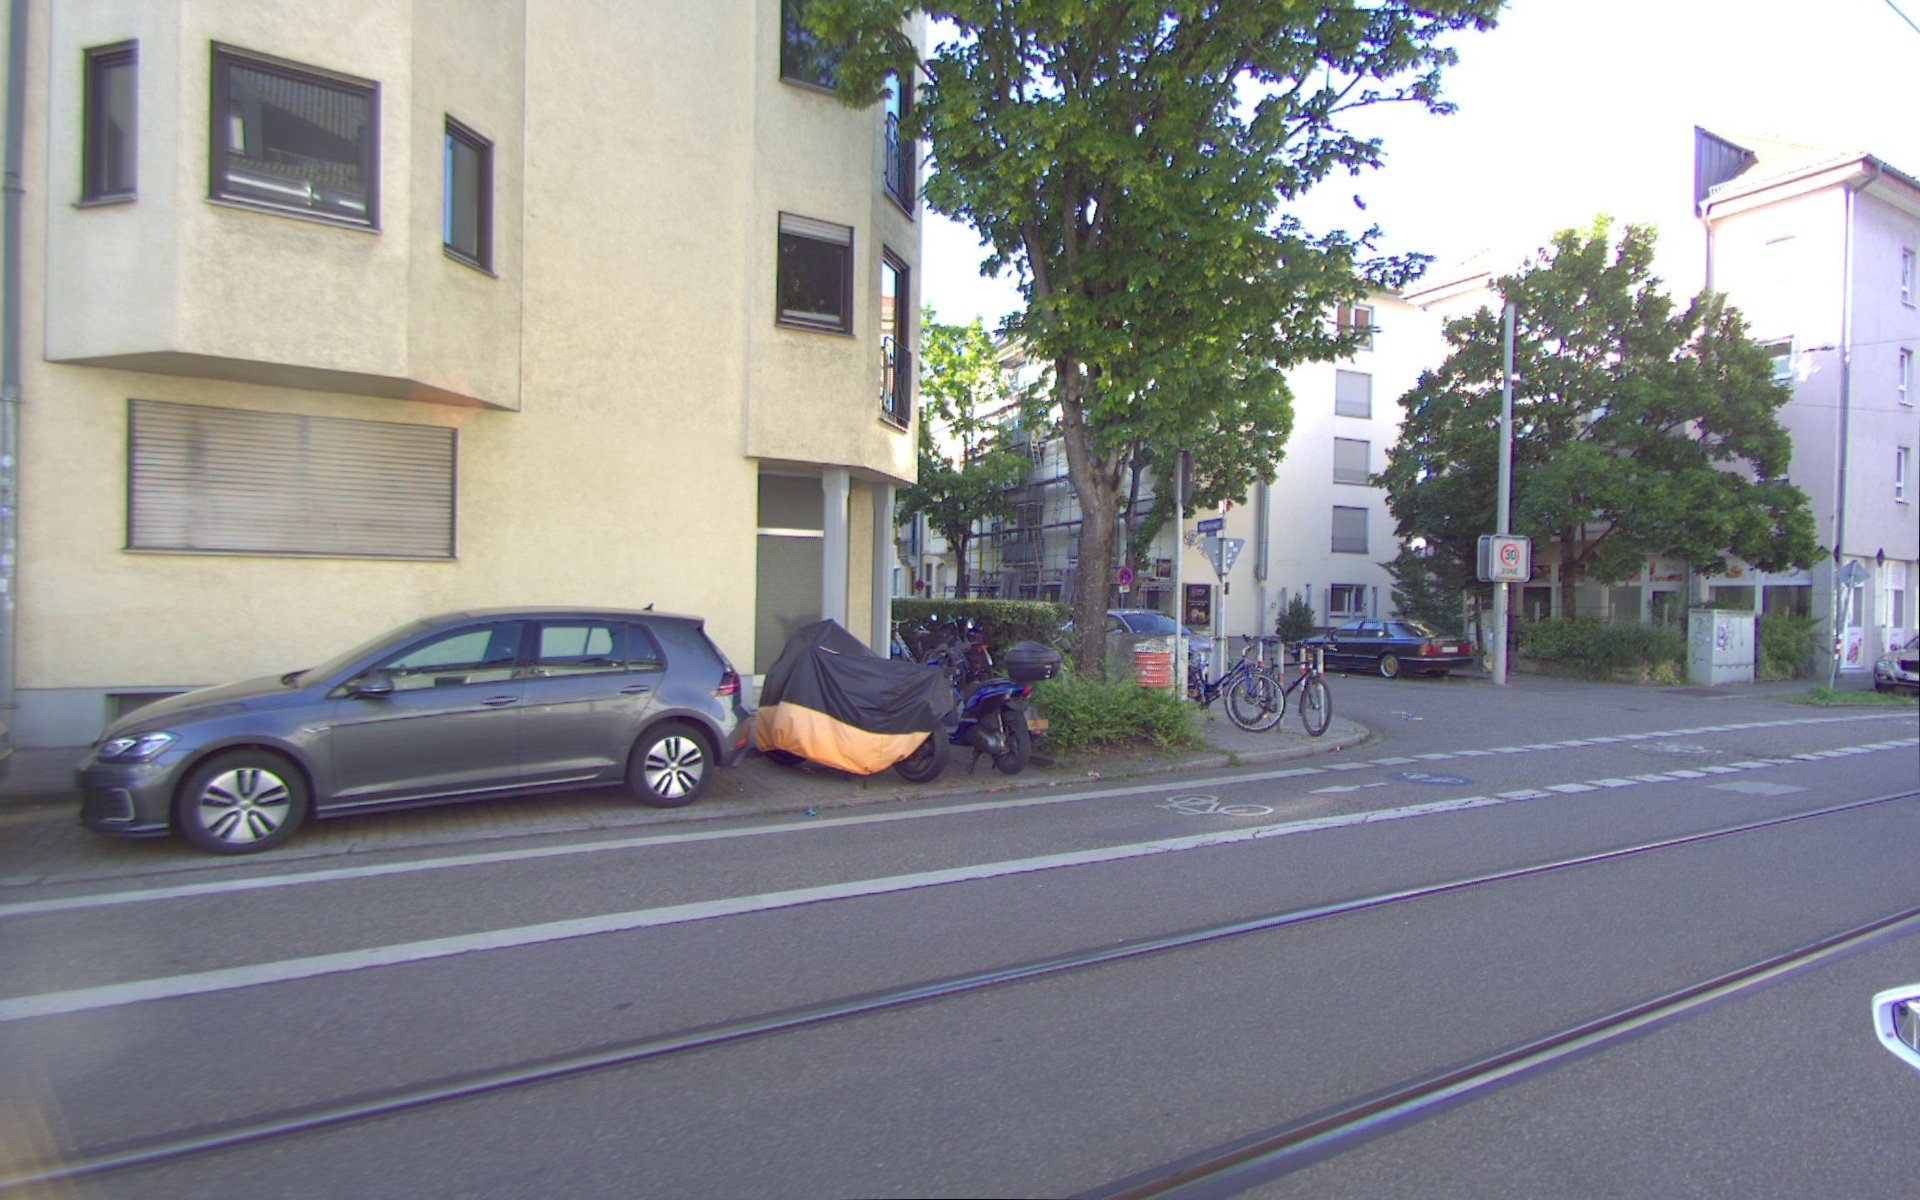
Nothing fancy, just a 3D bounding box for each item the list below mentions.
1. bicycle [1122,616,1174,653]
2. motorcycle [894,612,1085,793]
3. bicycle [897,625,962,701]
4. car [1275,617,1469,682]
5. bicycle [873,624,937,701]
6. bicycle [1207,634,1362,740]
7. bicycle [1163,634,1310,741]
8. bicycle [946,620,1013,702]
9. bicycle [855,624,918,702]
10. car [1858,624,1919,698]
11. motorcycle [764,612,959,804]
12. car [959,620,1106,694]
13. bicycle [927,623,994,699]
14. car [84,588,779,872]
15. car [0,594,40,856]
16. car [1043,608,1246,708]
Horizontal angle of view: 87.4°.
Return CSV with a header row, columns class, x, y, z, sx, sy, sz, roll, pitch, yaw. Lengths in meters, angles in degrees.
class,x,y,z,sx,sy,sz,roll,pitch,yaw
bicycle,6.558,1.181,35.011,1.970,1.181,0.718,-2,2,-41
motorcycle,0.216,0.863,9.314,0.714,1.466,1.955,1,0,-36
bicycle,-0.489,0.946,15.530,0.328,1.060,1.381,1,1,-32
car,10.085,1.159,24.989,1.690,1.406,4.542,2,-1,-25
bicycle,-0.857,0.933,15.419,0.328,1.060,1.381,1,1,-32
bicycle,3.788,0.980,11.888,0.588,1.099,1.869,1,0,-27
bicycle,3.184,0.969,11.738,0.588,1.099,1.799,1,0,-27
bicycle,0.283,0.931,15.722,0.328,1.159,1.381,1,1,-32
bicycle,-1.128,0.926,15.130,0.328,1.060,1.381,1,1,-32
car,21.510,1.315,21.869,3.953,1.462,1.735,1,2,-30
motorcycle,-0.922,0.861,8.870,0.828,1.466,1.955,1,0,-36
car,1.603,1.270,23.719,1.734,1.517,4.110,0,0,-24
bicycle,-0.014,0.921,15.518,0.328,1.060,1.381,1,1,-32
car,-3.580,0.749,7.396,4.085,1.563,1.725,1,0,-33
car,-7.643,0.706,4.640,4.676,1.563,1.757,1,0,-29
car,3.456,1.029,19.581,1.885,1.682,3.972,-1,0,-27
